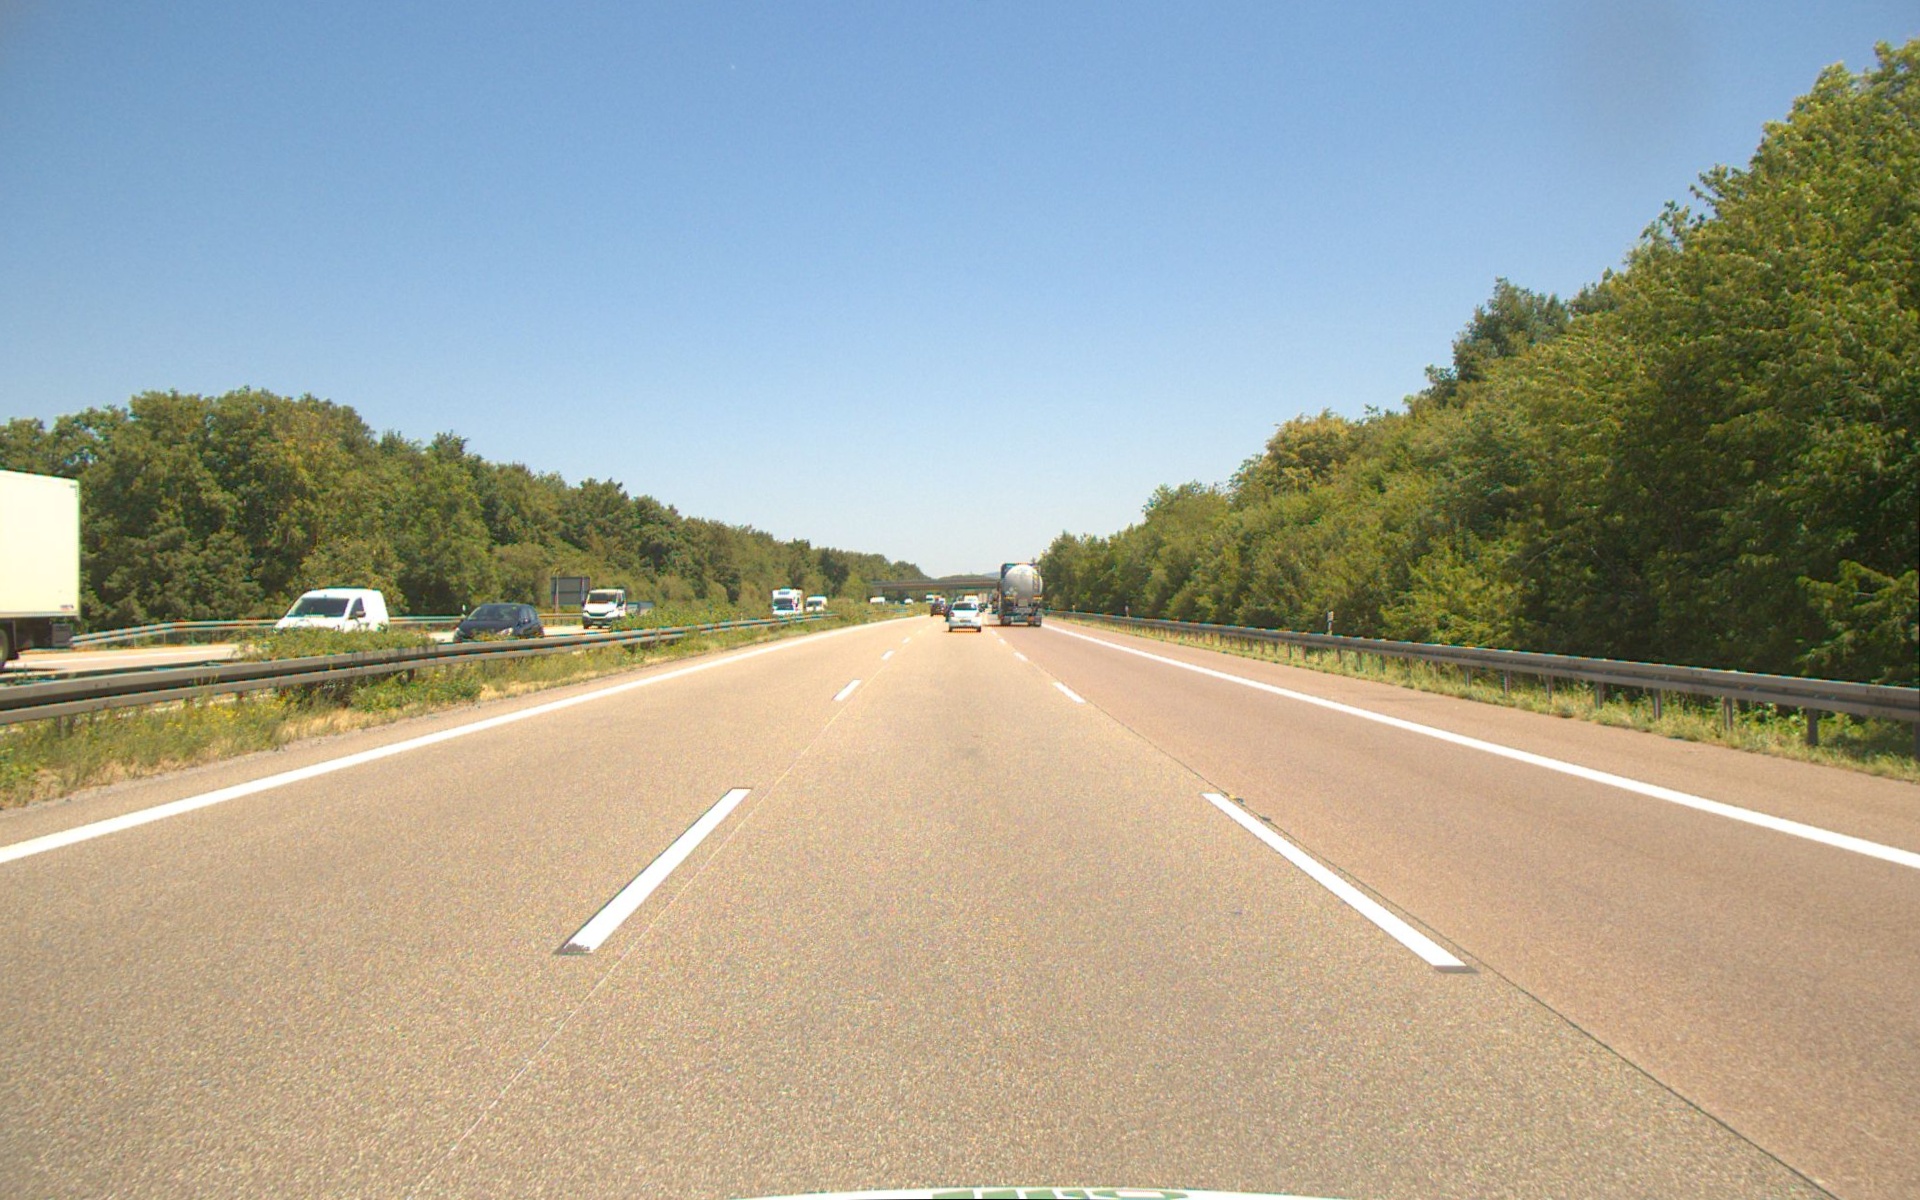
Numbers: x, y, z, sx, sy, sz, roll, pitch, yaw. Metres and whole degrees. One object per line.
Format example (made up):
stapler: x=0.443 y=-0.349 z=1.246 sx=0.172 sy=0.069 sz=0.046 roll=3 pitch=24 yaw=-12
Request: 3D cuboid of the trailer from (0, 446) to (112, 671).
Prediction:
trailer: x=-20.579 y=-0.815 z=30.102 sx=3.243 sy=4.438 sz=13.587 roll=0 pitch=0 yaw=0

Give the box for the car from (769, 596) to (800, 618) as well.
car: x=-13.265 y=0.521 z=125.288 sx=1.775 sy=1.624 sz=5.009 roll=0 pitch=0 yaw=0

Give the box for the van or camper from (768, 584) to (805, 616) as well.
van or camper: x=-16.135 y=0.000 z=153.894 sx=2.461 sy=2.899 sz=8.027 roll=0 pitch=0 yaw=1

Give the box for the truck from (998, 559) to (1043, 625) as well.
truck: x=3.945 y=-0.492 z=109.520 sx=2.683 sy=4.123 sz=10.455 roll=0 pitch=0 yaw=1

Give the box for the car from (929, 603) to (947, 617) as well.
car: x=-2.624 y=1.200 z=198.349 sx=1.952 sy=1.756 sz=4.786 roll=0 pitch=0 yaw=1

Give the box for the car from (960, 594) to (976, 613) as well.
car: x=1.055 y=0.424 z=210.937 sx=1.952 sy=2.384 sz=4.388 roll=0 pitch=0 yaw=1

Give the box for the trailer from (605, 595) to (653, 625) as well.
trailer: x=-20.605 y=0.601 z=103.118 sx=1.987 sy=1.868 sz=4.989 roll=0 pitch=0 yaw=0

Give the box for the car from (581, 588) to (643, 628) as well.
car: x=-20.220 y=0.451 z=96.370 sx=2.198 sy=2.210 sz=6.541 roll=0 pitch=0 yaw=0

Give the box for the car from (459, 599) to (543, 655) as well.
car: x=-12.459 y=0.698 z=45.034 sx=1.346 sy=1.452 sz=3.455 roll=0 pitch=0 yaw=-1

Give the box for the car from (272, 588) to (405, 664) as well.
car: x=-16.417 y=0.658 z=43.973 sx=1.778 sy=1.909 sz=4.877 roll=0 pitch=0 yaw=-1

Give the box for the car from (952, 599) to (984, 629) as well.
car: x=0.403 y=0.686 z=84.682 sx=1.594 sy=1.505 sz=3.999 roll=0 pitch=0 yaw=-1
